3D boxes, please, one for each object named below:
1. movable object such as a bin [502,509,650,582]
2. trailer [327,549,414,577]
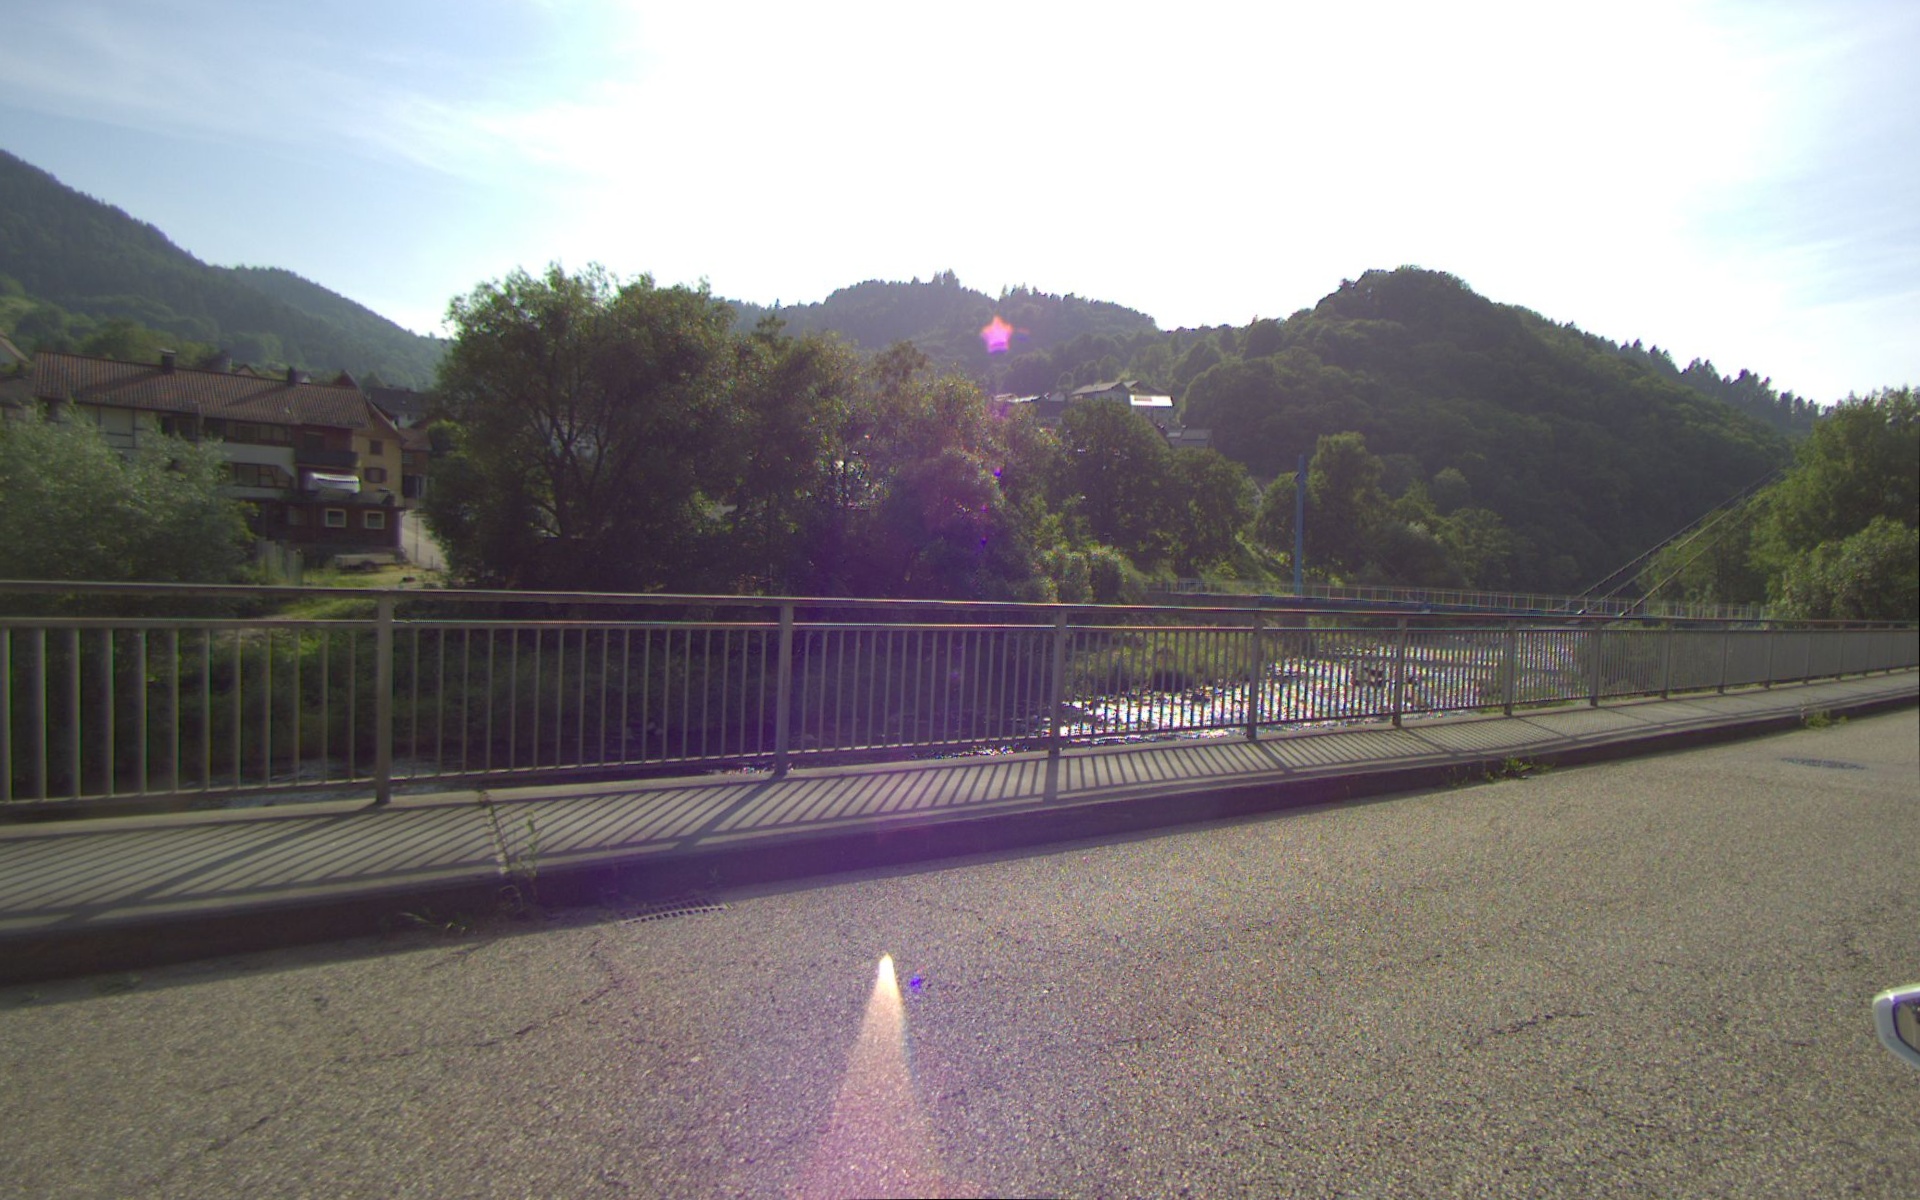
[{"bbox_3d":[-24.828,-3.505,65.103,8.003,3.257,3.553,10,3,11],"label":"movable object such as a bin"},{"bbox_3d":[-32.117,-1.995,54.760,1.870,1.327,3.680,1,0,41],"label":"trailer"}]
